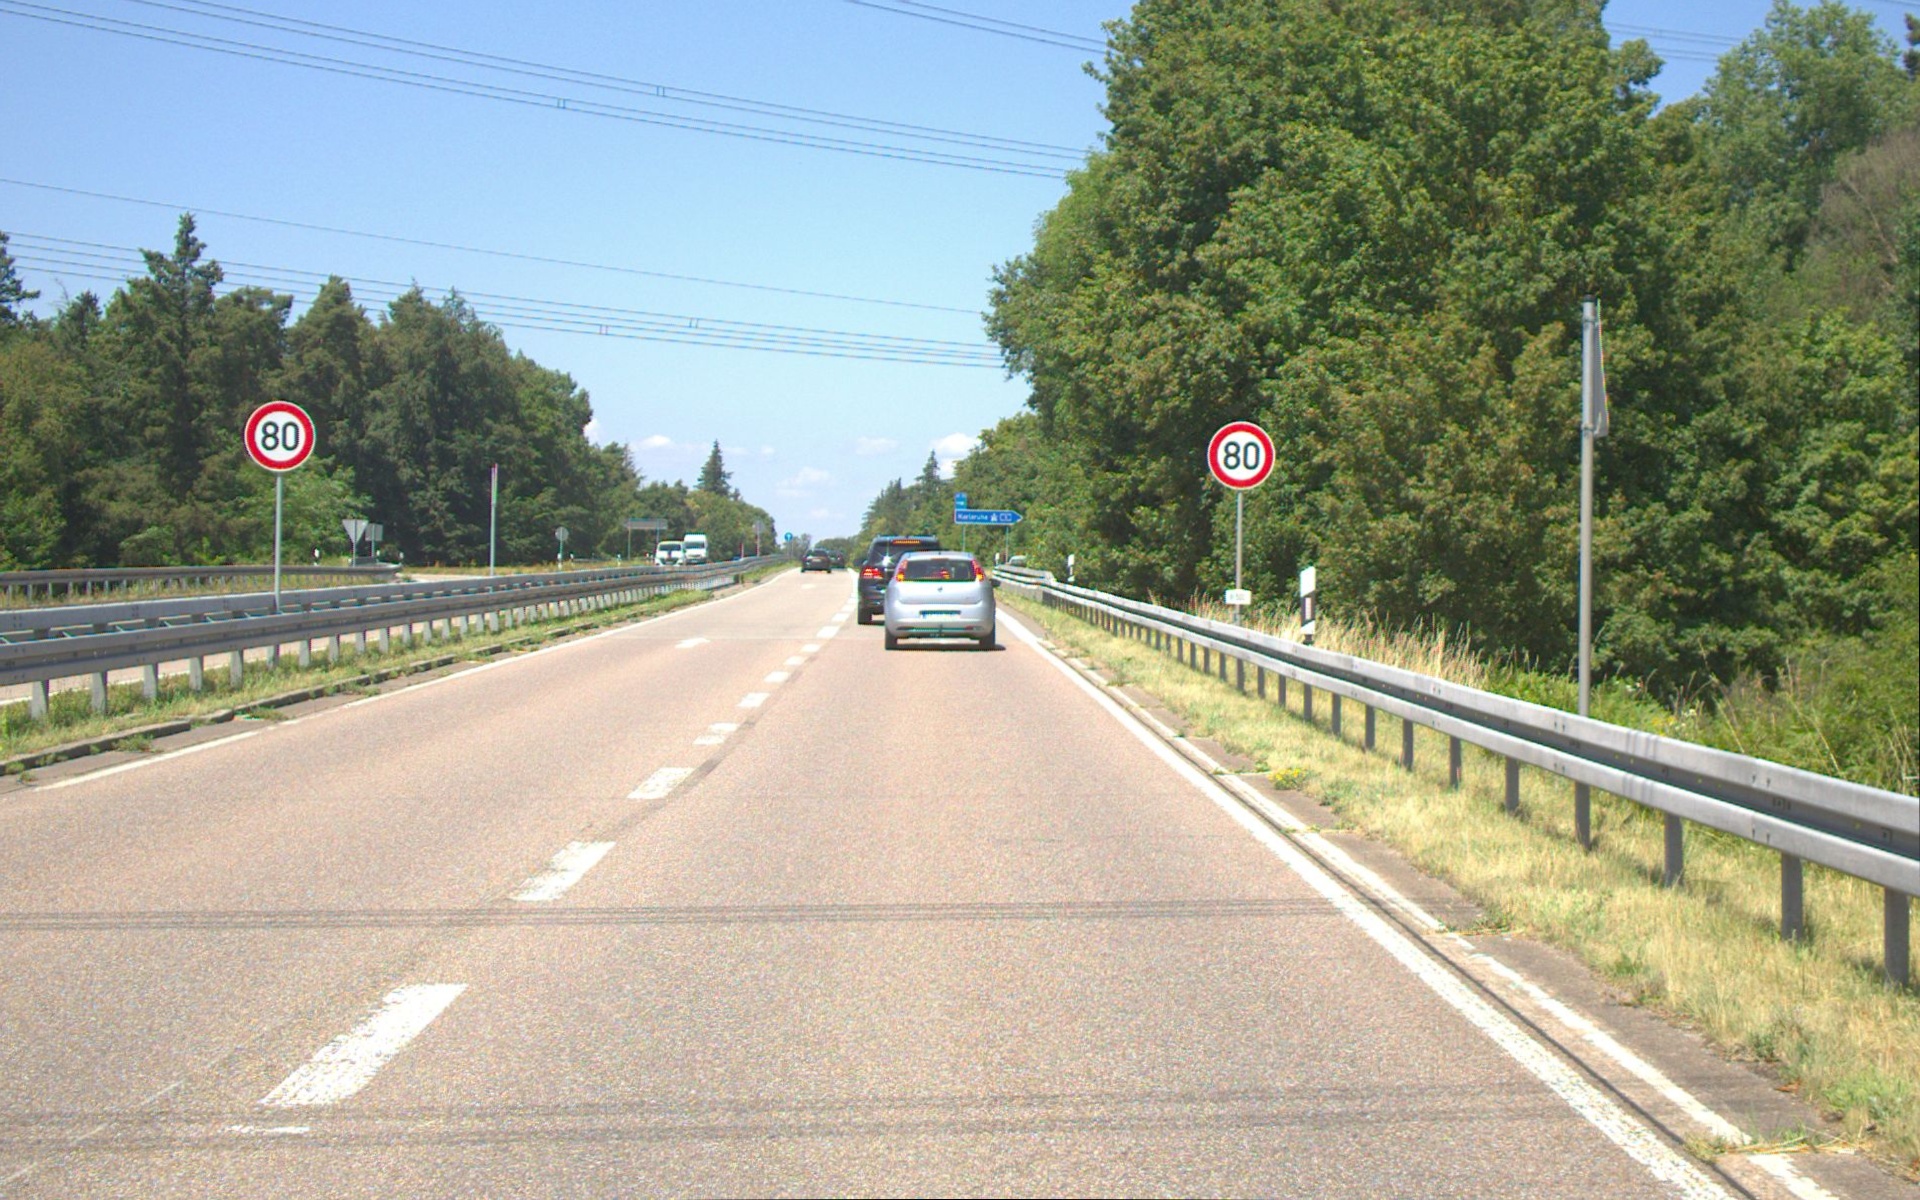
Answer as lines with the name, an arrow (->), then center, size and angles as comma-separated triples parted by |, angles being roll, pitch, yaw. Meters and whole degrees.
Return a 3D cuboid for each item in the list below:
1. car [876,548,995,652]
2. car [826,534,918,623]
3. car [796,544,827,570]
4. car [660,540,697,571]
car -> -0.401, -0.027, 52.275 | 1.640, 1.463, 3.419 | 2, 1, -2
car -> -1.773, -0.439, 68.349 | 1.640, 1.648, 3.574 | 2, 1, -3
car -> -8.932, -2.586, 206.587 | 1.712, 1.466, 3.574 | 3, 1, -1
car -> -18.580, -2.928, 227.321 | 1.891, 1.985, 5.533 | 0, 1, 1
